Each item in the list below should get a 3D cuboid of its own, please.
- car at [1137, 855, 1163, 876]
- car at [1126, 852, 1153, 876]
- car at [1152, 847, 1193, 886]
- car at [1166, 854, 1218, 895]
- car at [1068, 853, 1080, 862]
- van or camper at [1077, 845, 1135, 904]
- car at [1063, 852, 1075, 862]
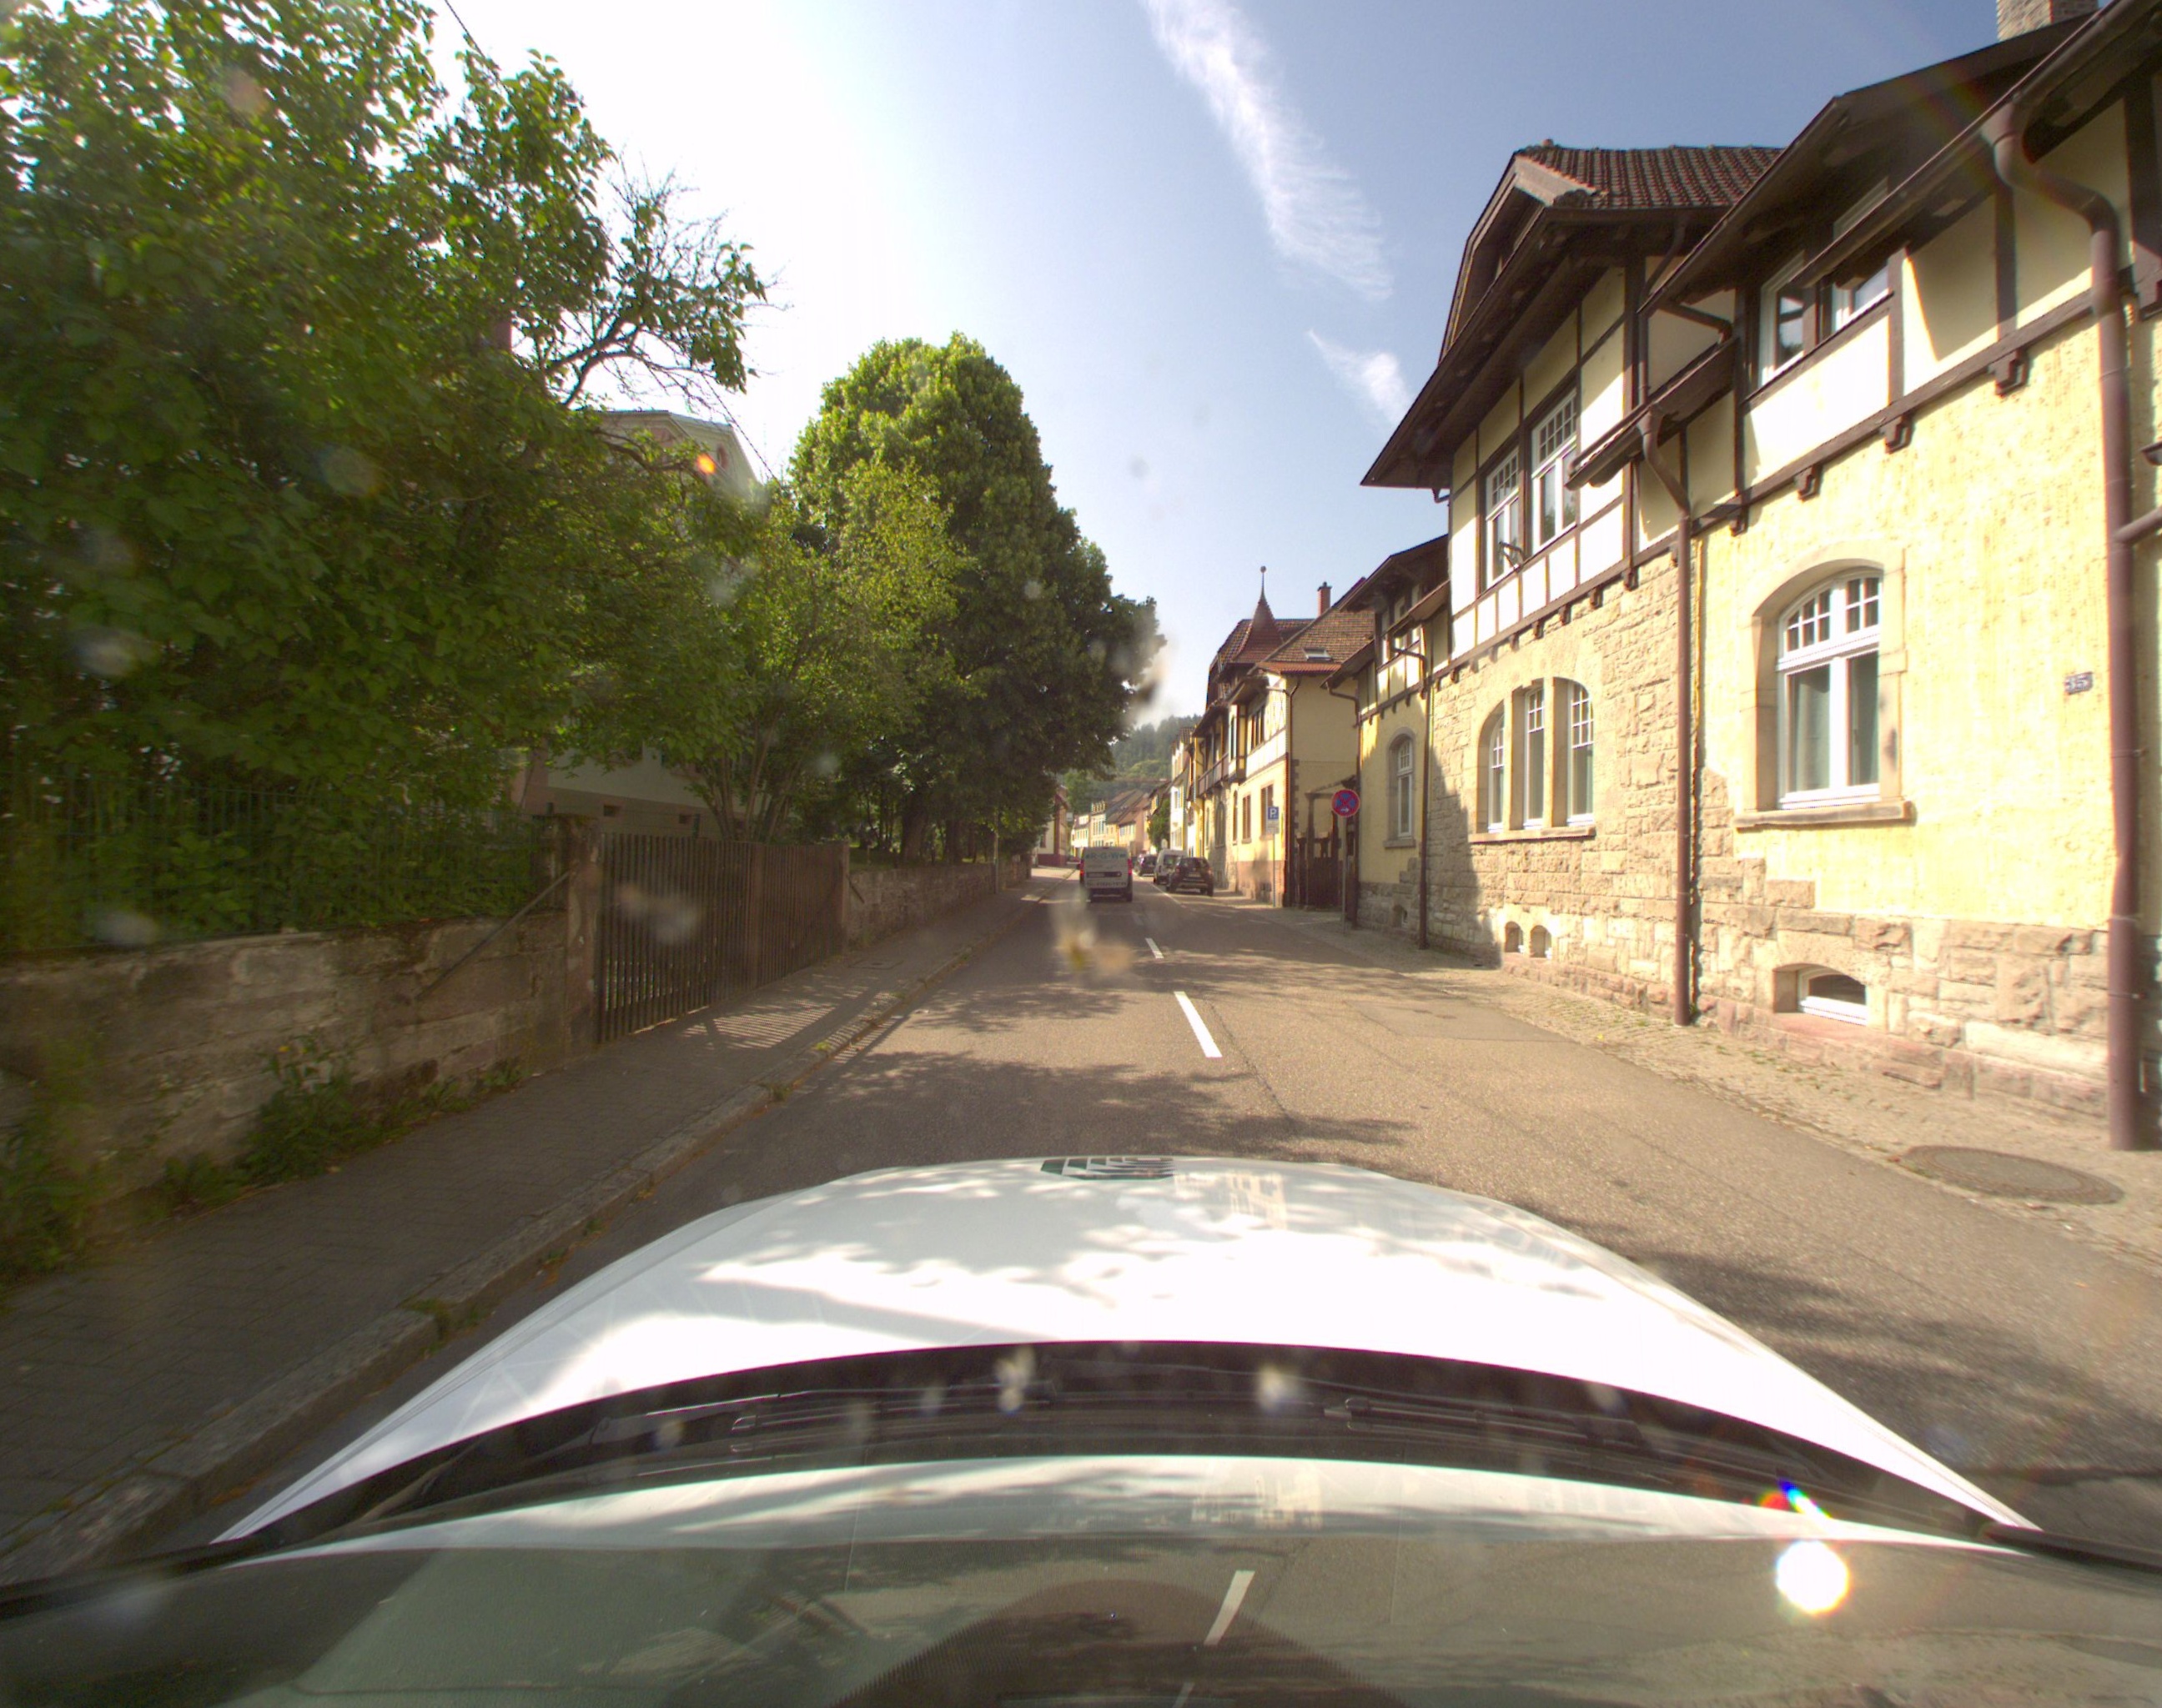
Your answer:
[{"bbox_3d":[5.209,0.855,61.873,1.664,1.508,3.999,0,0,0],"label":"car"},{"bbox_3d":[5.126,0.884,71.792,1.987,2.014,3.999,1,0,0],"label":"car"},{"bbox_3d":[5.059,0.672,45.510,1.864,2.014,4.001,1,0,1],"label":"car"},{"bbox_3d":[4.745,0.843,35.347,1.804,1.596,3.928,3,0,2],"label":"car"},{"bbox_3d":[-1.307,0.697,155.136,1.771,1.799,3.986,1,0,-10],"label":"car"},{"bbox_3d":[0.837,0.641,28.480,1.822,1.844,4.188,-2,0,1],"label":"van or camper"},{"bbox_3d":[-2.457,0.590,161.695,1.771,1.799,3.986,1,0,-10],"label":"car"}]
